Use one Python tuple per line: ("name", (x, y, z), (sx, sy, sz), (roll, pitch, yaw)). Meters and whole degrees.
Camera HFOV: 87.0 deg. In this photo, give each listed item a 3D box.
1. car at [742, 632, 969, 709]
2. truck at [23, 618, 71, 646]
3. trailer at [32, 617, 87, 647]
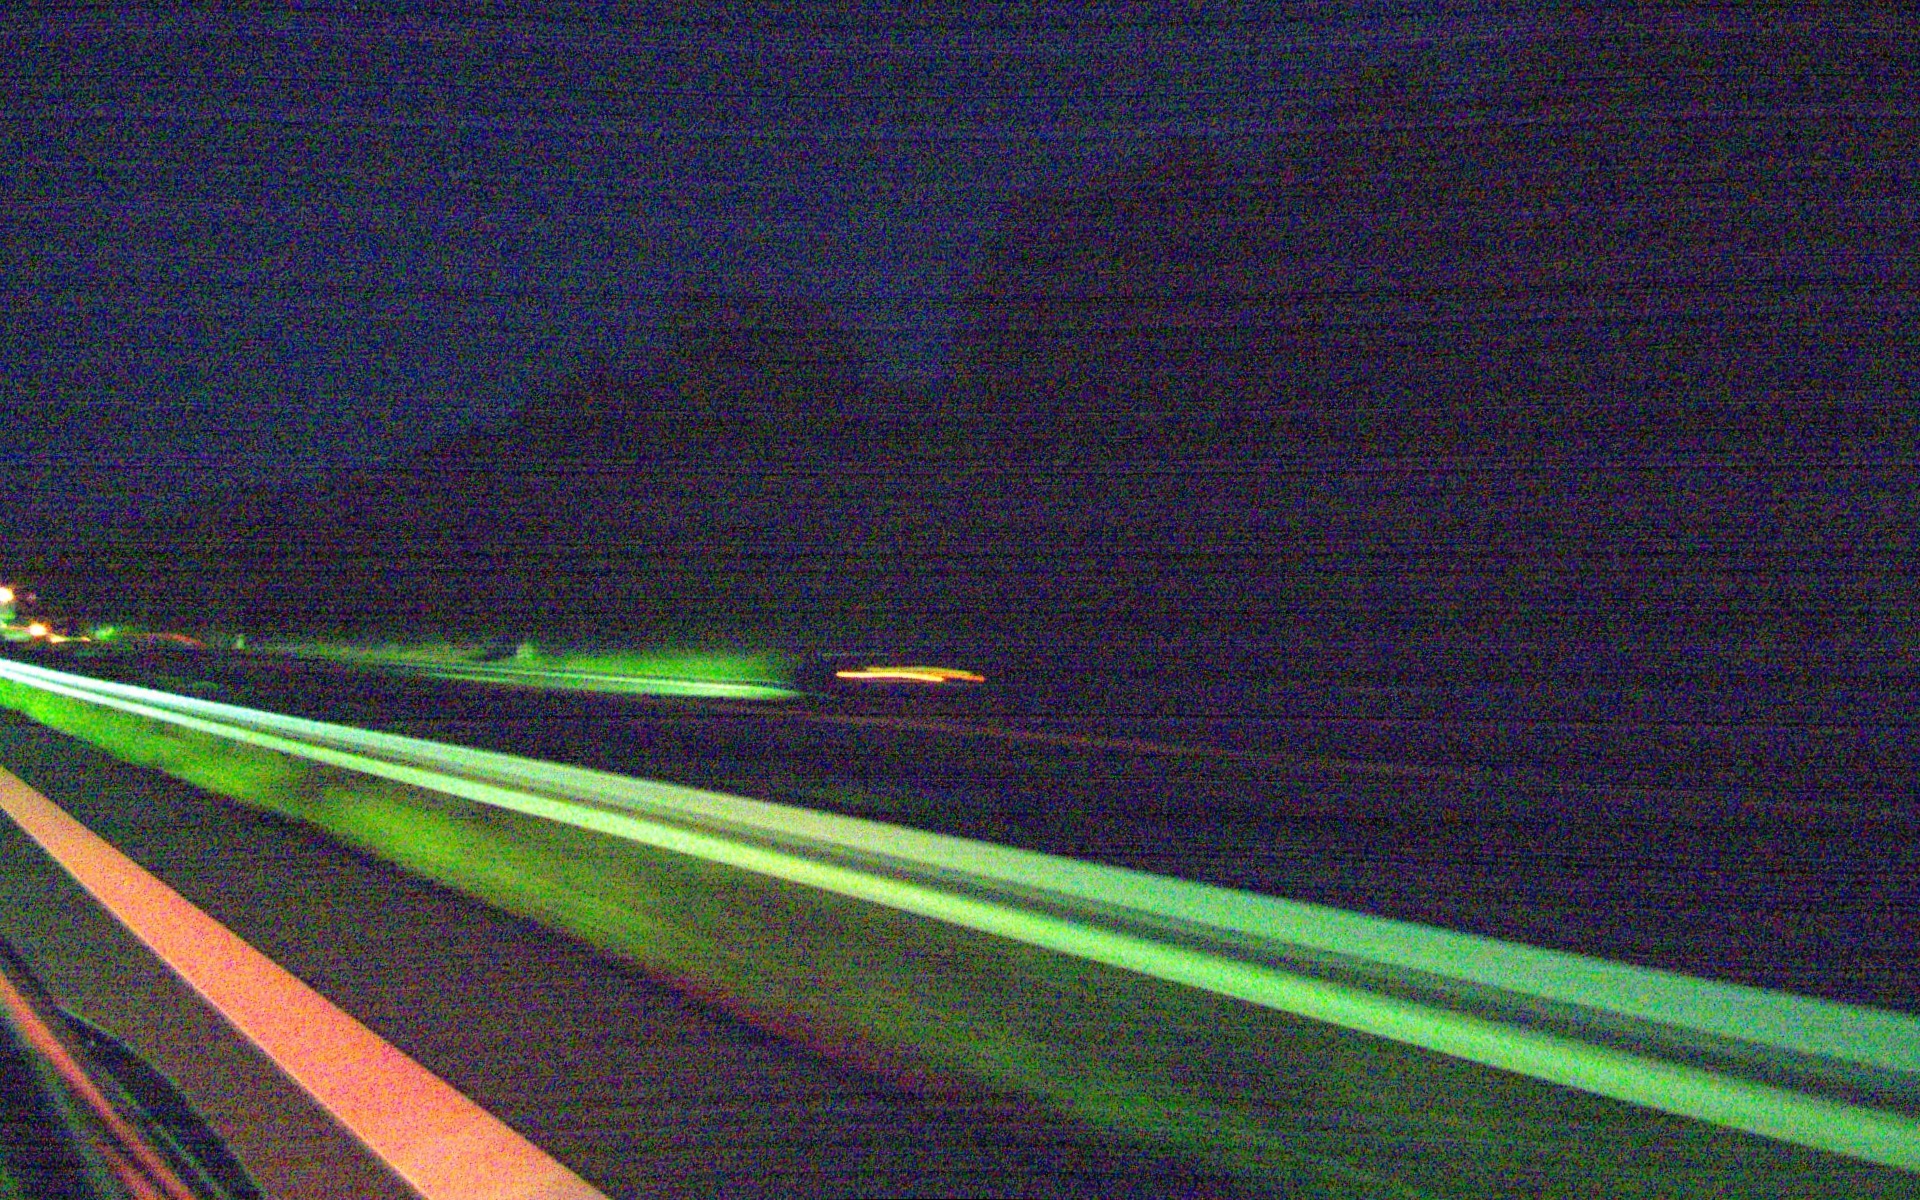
("car", (-2.418, 1.488, 22.526), (5.197, 1.515, 1.973), (-1, -3, 40))
("truck", (-65.865, 2.274, 72.969), (5.238, 1.957, 1.972), (-1, -2, 41))
("trailer", (-61.461, 2.204, 69.059), (6.619, 1.955, 1.972), (-1, -3, 41))
